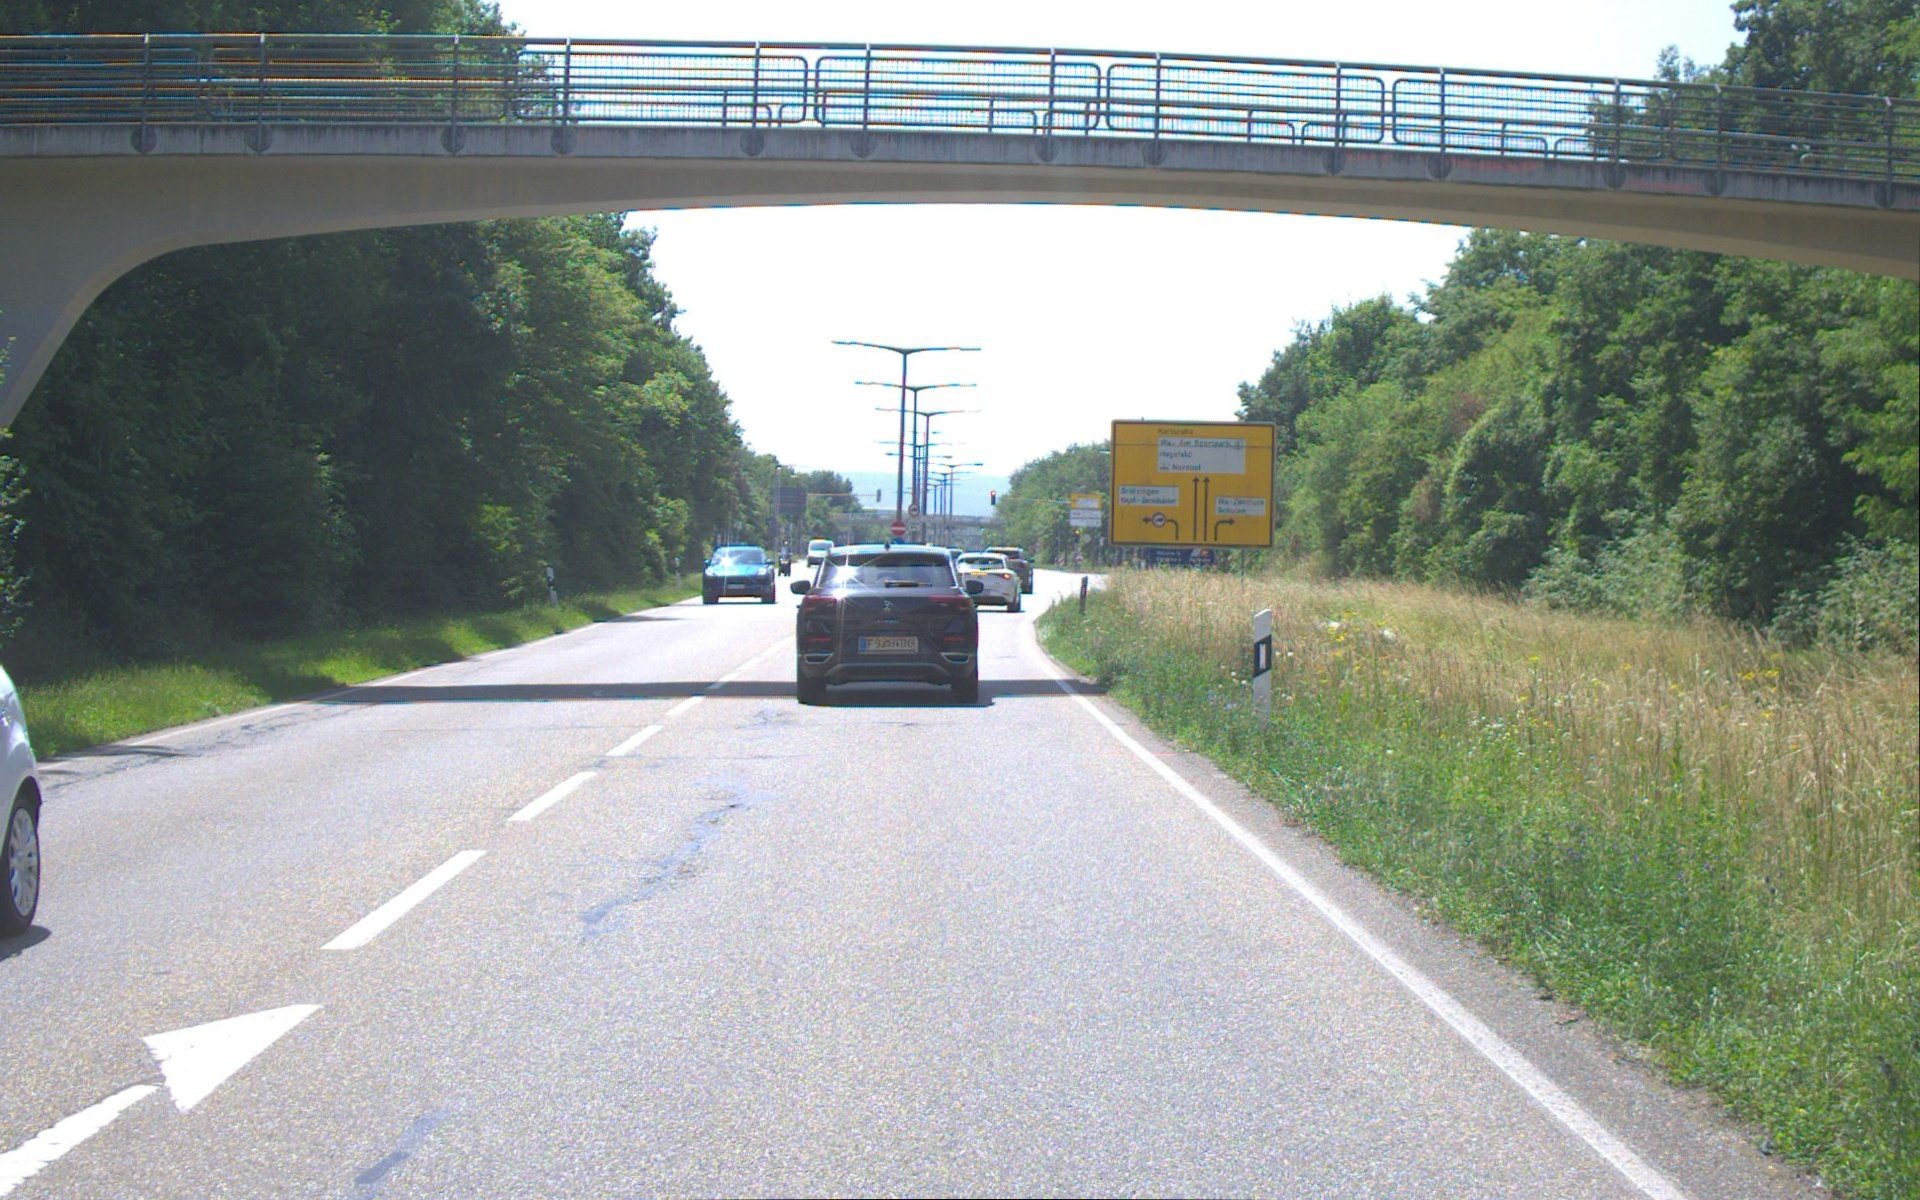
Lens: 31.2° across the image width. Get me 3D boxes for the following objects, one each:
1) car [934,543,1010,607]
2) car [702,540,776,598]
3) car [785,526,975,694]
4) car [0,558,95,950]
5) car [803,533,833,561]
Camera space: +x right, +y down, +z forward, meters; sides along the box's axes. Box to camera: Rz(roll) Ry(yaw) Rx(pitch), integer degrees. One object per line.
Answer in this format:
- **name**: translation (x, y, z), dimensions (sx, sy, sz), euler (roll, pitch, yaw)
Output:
- **car**: translation (0.316, -0.641, 85.816), dimensions (1.797, 1.577, 4.000), euler (0, 1, 2)
- **car**: translation (-6.289, -0.901, 98.224), dimensions (1.823, 1.584, 4.419), euler (-1, 1, 0)
- **car**: translation (-0.763, 0.068, 34.513), dimensions (1.755, 1.551, 4.000), euler (1, 1, 0)
- **car**: translation (-4.366, 0.584, 12.038), dimensions (1.677, 1.428, 3.772), euler (0, 1, 1)
- **car**: translation (-8.756, -3.297, 212.346), dimensions (1.731, 1.682, 4.095), euler (-1, 1, -1)
